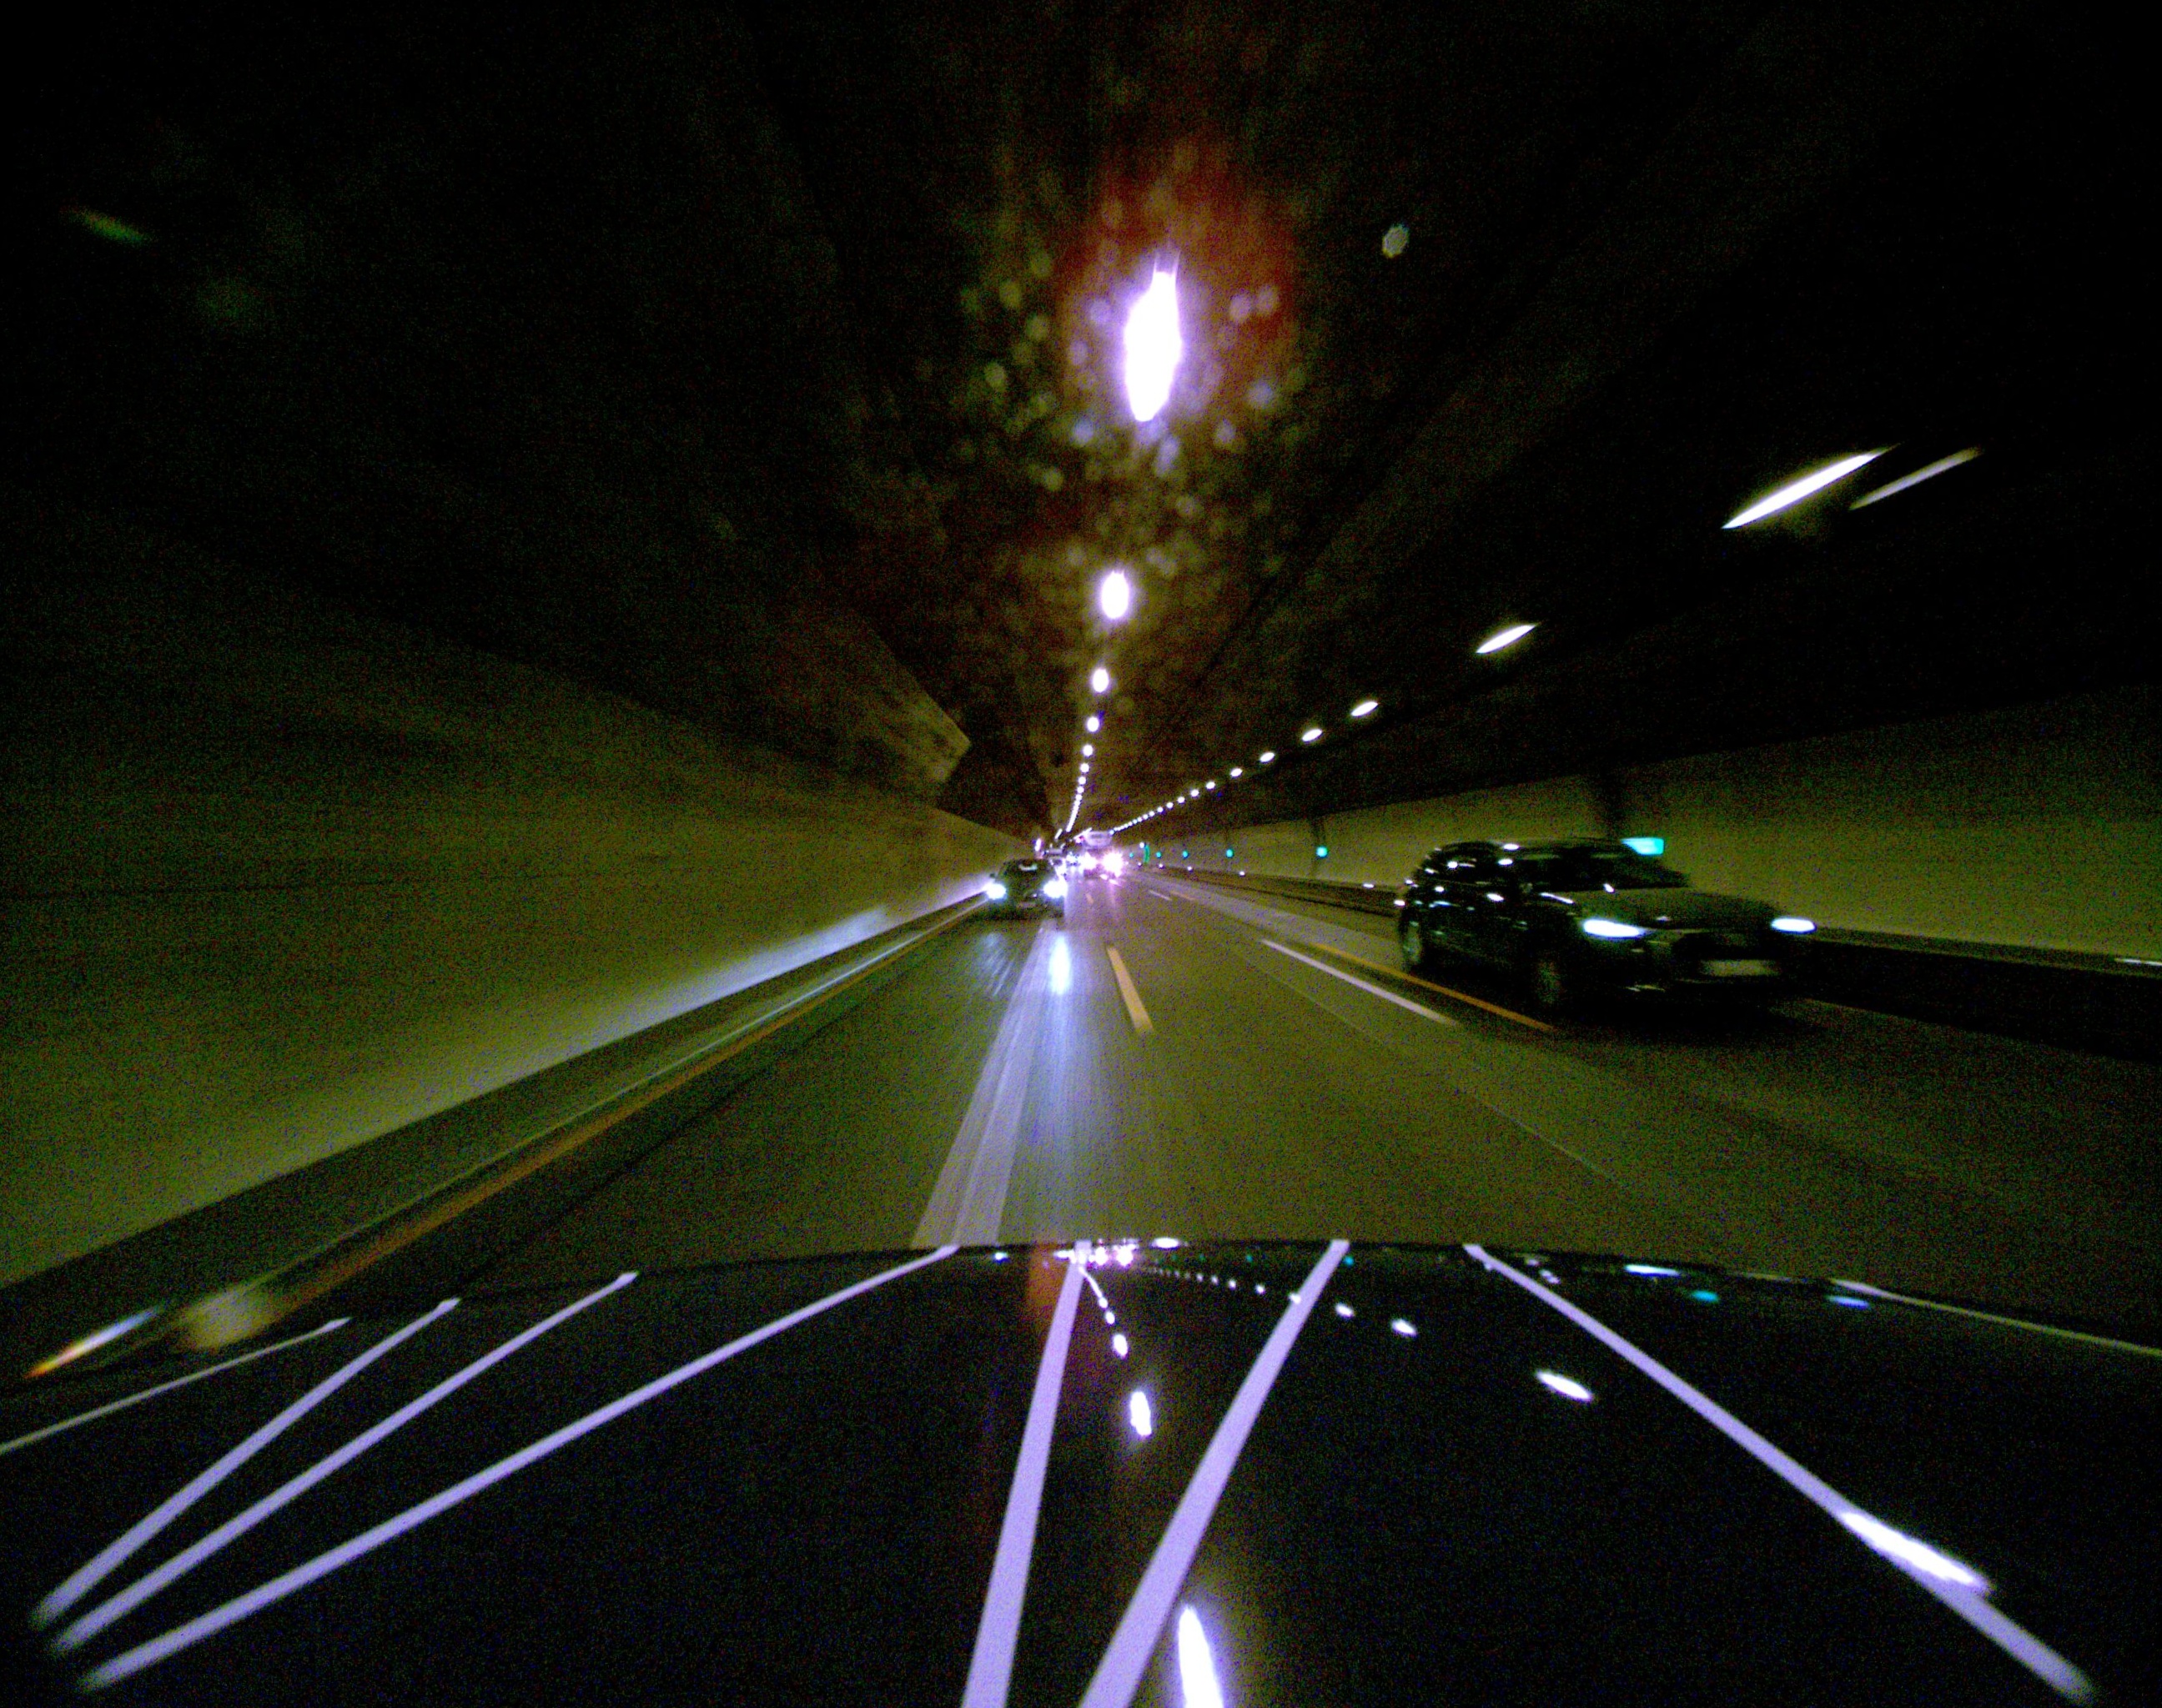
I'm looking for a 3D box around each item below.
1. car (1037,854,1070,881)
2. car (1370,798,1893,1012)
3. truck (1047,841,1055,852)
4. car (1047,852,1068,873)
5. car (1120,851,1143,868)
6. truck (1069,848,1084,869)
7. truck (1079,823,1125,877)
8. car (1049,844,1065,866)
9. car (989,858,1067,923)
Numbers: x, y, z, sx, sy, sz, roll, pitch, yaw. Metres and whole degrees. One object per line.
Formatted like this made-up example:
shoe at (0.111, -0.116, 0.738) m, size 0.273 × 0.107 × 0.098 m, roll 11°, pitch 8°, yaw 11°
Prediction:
car at (-1.762, 0.838, 49.114) m, size 1.999 × 1.531 × 4.741 m, roll -1°, pitch 1°, yaw -2°
car at (4.949, 0.352, 7.943) m, size 1.999 × 1.531 × 4.741 m, roll -1°, pitch 1°, yaw -1°
truck at (-10.299, -2.576, 261.549) m, size 2.208 × 3.449 × 11.765 m, roll 0°, pitch 0°, yaw 1°
car at (-2.421, 0.797, 76.536) m, size 1.999 × 2.002 × 4.852 m, roll -1°, pitch 0°, yaw -3°
car at (4.878, 0.474, 73.987) m, size 1.998 × 1.531 × 4.851 m, roll -1°, pitch 1°, yaw 1°
truck at (-0.611, 0.646, 116.704) m, size 2.162 × 3.098 × 6.030 m, roll -1°, pitch 1°, yaw 0°
truck at (1.310, -0.263, 51.657) m, size 2.534 × 3.314 × 7.714 m, roll -1°, pitch 0°, yaw -2°
car at (-3.181, 0.108, 99.367) m, size 1.999 × 2.710 × 6.272 m, roll -1°, pitch 1°, yaw -2°
car at (-1.365, 0.887, 20.503) m, size 1.826 × 1.469 × 4.520 m, roll -1°, pitch 0°, yaw -2°
